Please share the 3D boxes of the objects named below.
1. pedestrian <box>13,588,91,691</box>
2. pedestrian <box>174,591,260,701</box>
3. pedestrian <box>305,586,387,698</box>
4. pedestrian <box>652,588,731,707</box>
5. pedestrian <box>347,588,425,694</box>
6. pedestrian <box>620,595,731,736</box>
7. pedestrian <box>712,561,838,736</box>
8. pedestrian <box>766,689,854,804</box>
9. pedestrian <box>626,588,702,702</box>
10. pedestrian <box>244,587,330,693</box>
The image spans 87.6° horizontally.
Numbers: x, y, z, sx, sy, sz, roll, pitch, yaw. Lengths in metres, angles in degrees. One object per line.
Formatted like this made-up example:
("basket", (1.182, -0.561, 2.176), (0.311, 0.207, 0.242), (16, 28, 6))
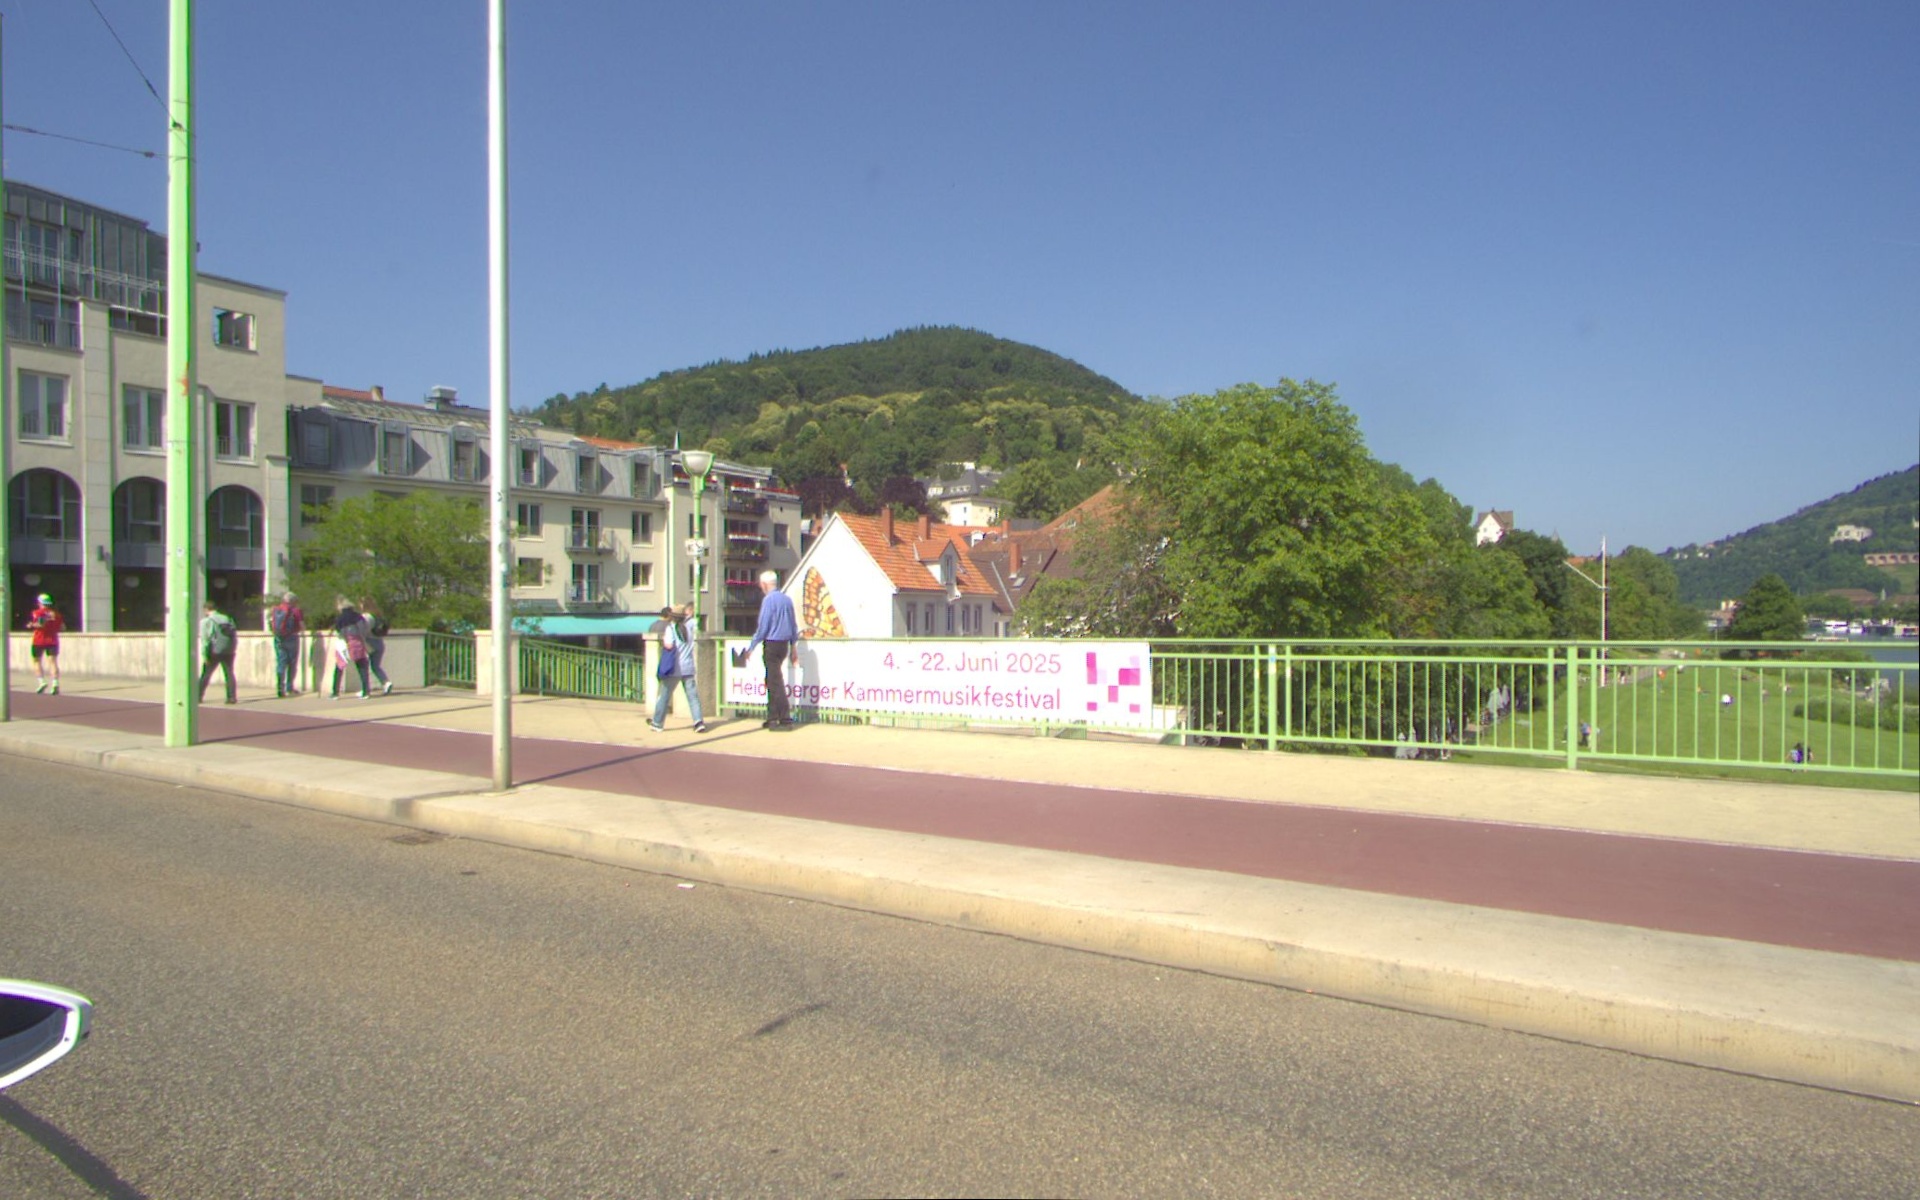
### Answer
("pedestrian", (-17.652, 0.751, 19.469), (1.111, 1.950, 0.809), (-1, 1, 32))
("pedestrian", (-12.214, 0.728, 16.470), (1.058, 1.741, 0.753), (0, 1, 32))
("pedestrian", (-10.230, 0.686, 16.681), (1.001, 1.801, 0.738), (0, 1, 31))
("pedestrian", (-4.080, 0.708, 15.286), (0.728, 1.741, 1.014), (0, 0, 17))
("pedestrian", (-9.952, 0.688, 17.367), (1.000, 1.770, 0.738), (0, 1, 30))
("pedestrian", (-3.319, 0.728, 11.696), (0.921, 1.550, 0.826), (0, 1, 36))
("pedestrian", (-2.162, 0.543, 11.741), (1.121, 1.923, 0.924), (0, 1, 32))
("pedestrian", (-2.618, 2.525, 17.536), (0.966, 1.801, 1.201), (0, 1, 30))
("pedestrian", (-4.657, 0.693, 15.817), (0.727, 1.741, 1.015), (-1, 1, 12))
("pedestrian", (-11.956, 0.696, 17.820), (0.727, 1.826, 1.015), (-1, 1, 6))
